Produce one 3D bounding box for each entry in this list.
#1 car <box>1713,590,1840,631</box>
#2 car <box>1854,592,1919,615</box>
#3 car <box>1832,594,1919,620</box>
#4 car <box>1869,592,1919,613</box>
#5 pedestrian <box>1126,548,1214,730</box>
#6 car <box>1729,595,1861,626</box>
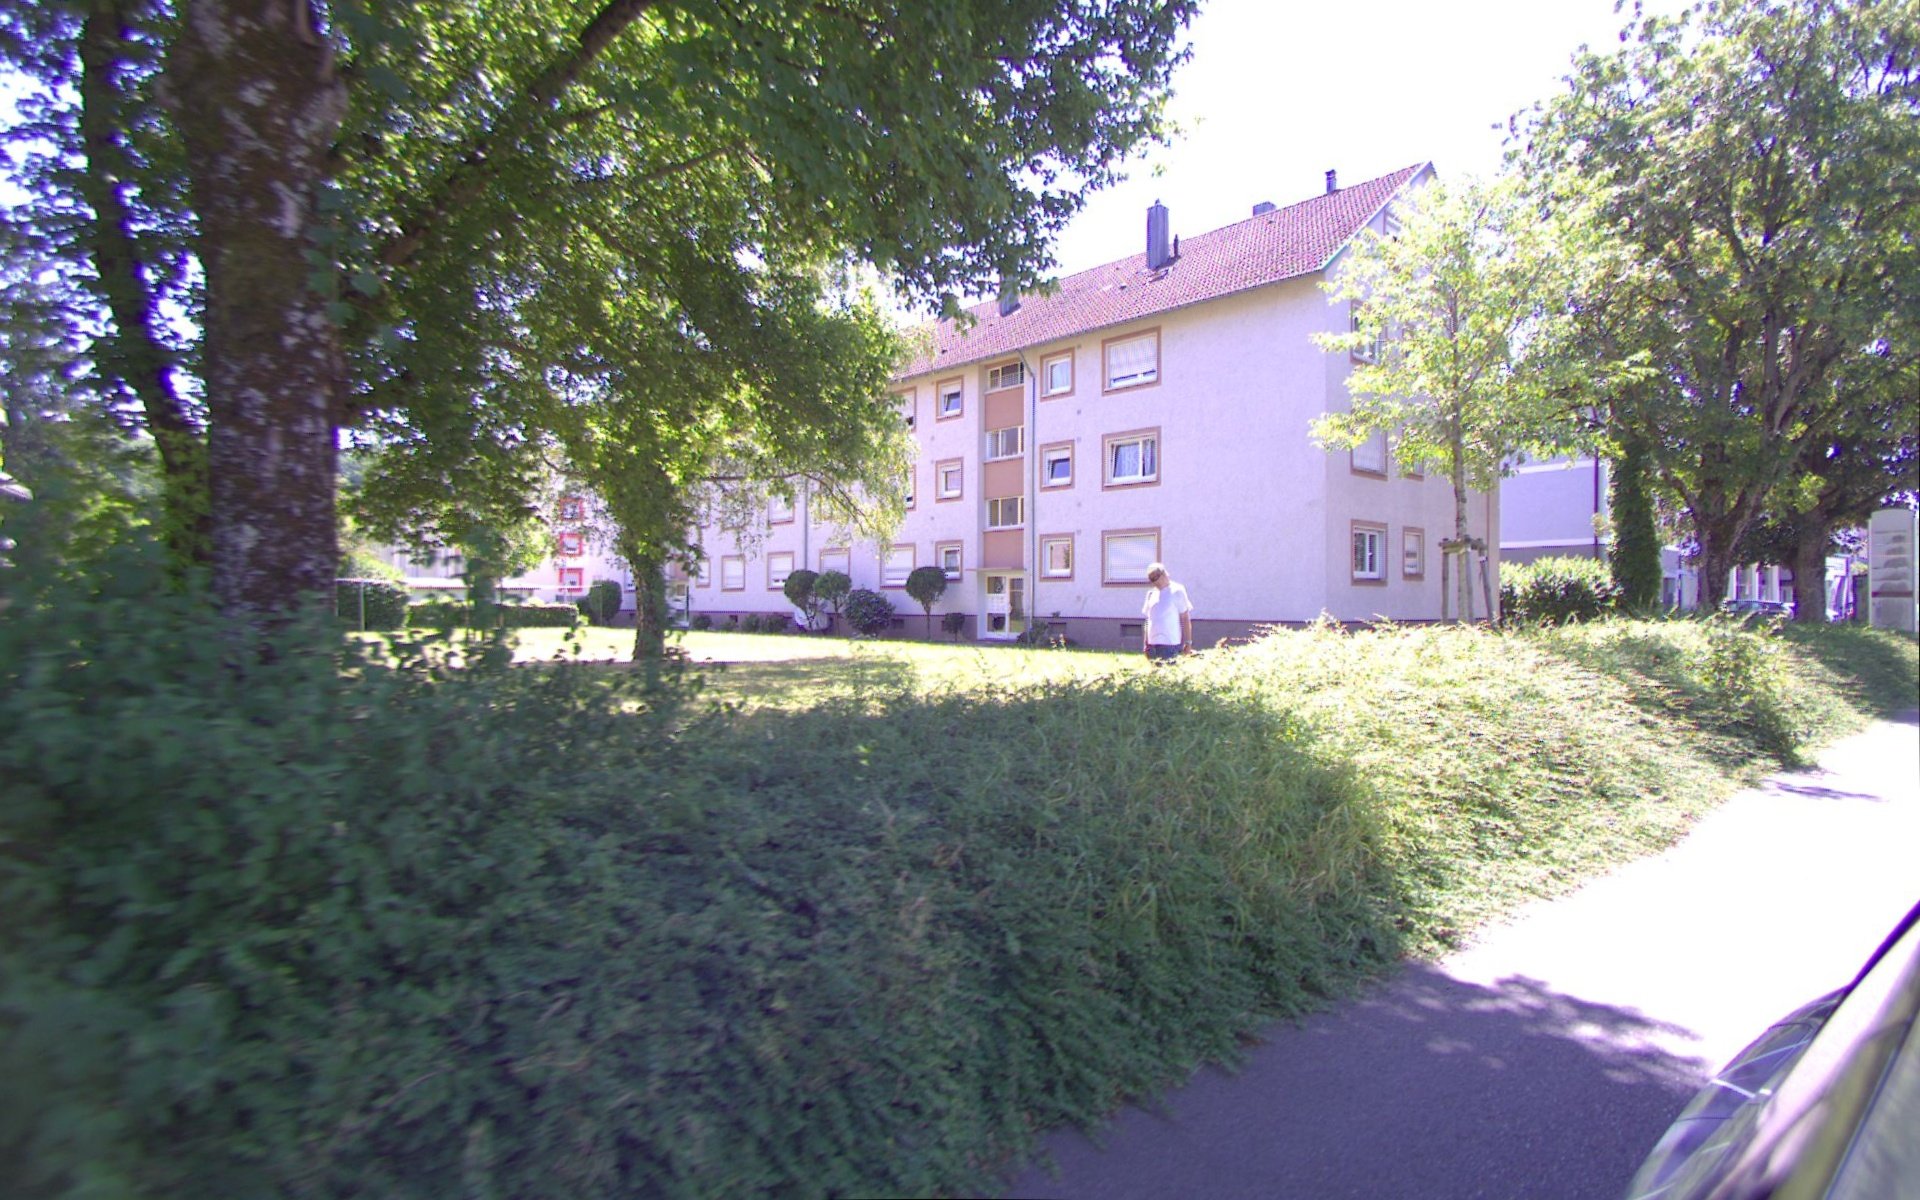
[{"bbox_3d":[35.315,0.405,43.835,1.766,1.569,3.995,0,2,-40],"label":"car"},{"bbox_3d":[66.859,0.192,72.494,1.643,1.552,3.875,0,1,-22],"label":"car"},{"bbox_3d":[62.952,0.476,69.270,1.958,1.662,4.606,0,1,-21],"label":"car"},{"bbox_3d":[68.791,0.168,73.310,1.768,1.479,4.007,0,1,-24],"label":"car"},{"bbox_3d":[2.331,0.409,11.247,0.648,1.938,0.705,0,0,-37],"label":"pedestrian"},{"bbox_3d":[38.196,0.450,46.443,4.316,1.388,1.937,0,1,28],"label":"car"}]
